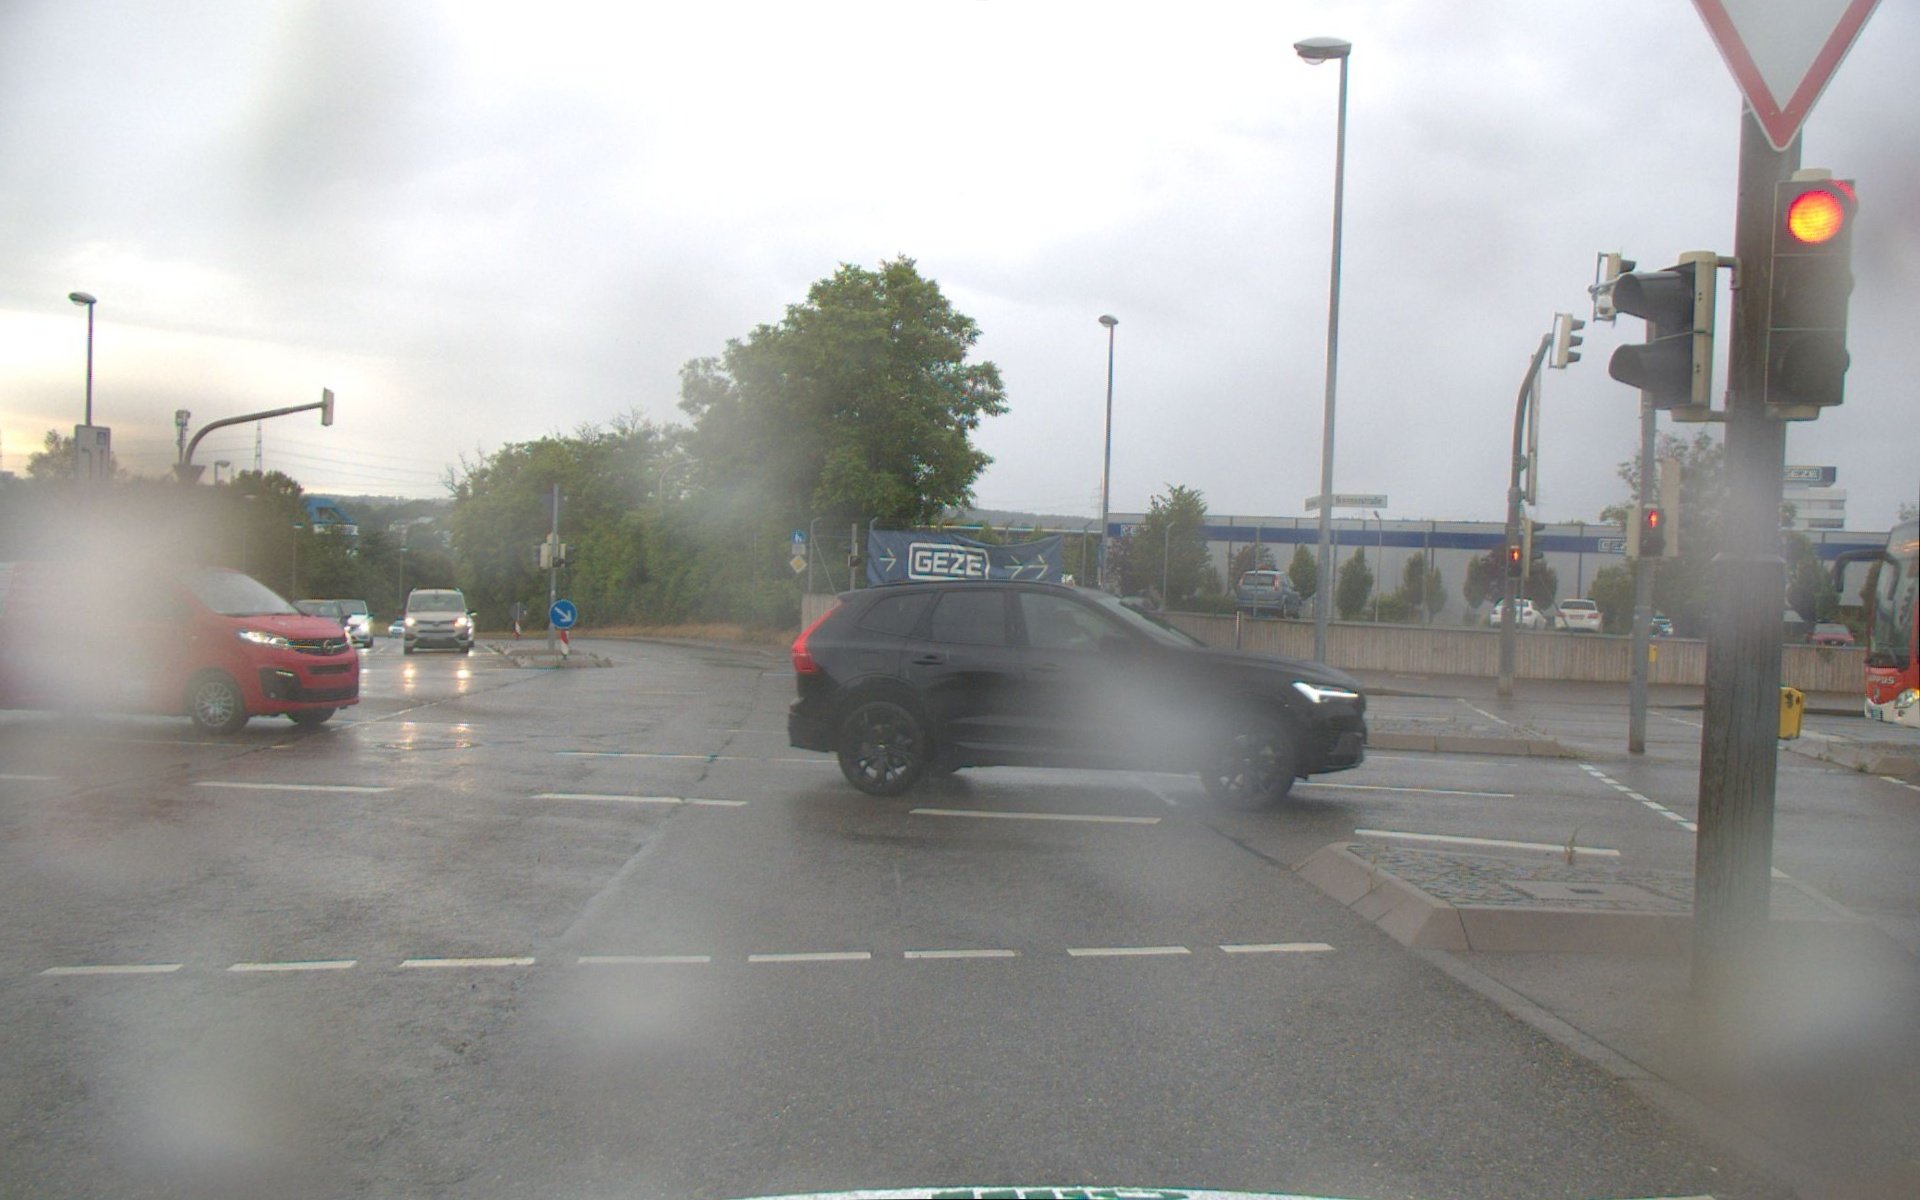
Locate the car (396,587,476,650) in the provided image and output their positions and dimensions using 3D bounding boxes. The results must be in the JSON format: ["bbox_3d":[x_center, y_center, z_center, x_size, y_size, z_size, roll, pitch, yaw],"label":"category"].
[{"bbox_3d":[-14.941,0.501,47.347,1.961,1.646,3.984,1,1,-15],"label":"car"}]

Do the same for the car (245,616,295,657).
[{"bbox_3d":[-35.695,1.872,85.666,1.962,1.928,3.981,1,1,-18],"label":"car"}]

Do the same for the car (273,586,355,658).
[{"bbox_3d":[-18.601,0.595,47.742,1.963,1.928,3.979,1,1,-19],"label":"car"}]

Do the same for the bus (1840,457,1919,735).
[{"bbox_3d":[17.687,0.215,19.907,12.020,3.379,3.076,3,1,17],"label":"bus"}]

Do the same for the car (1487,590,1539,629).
[{"bbox_3d":[22.962,0.388,68.640,1.952,1.504,4.001,2,1,19],"label":"car"}]

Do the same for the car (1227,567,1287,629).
[{"bbox_3d":[10.395,-0.063,57.836,1.951,2.049,4.003,1,0,11],"label":"car"}]

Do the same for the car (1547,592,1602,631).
[{"bbox_3d":[25.259,0.456,68.051,1.952,1.504,4.001,2,1,19],"label":"car"}]

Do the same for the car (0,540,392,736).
[{"bbox_3d":[-9.239,0.380,19.108,4.670,2.049,2.002,1,0,12],"label":"car"}]

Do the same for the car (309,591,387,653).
[{"bbox_3d":[-20.336,0.701,55.102,1.960,1.928,3.986,1,0,-14],"label":"car"}]

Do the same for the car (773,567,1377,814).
[{"bbox_3d":[1.001,0.631,13.262,4.519,1.708,2.036,1,0,14],"label":"car"}]
